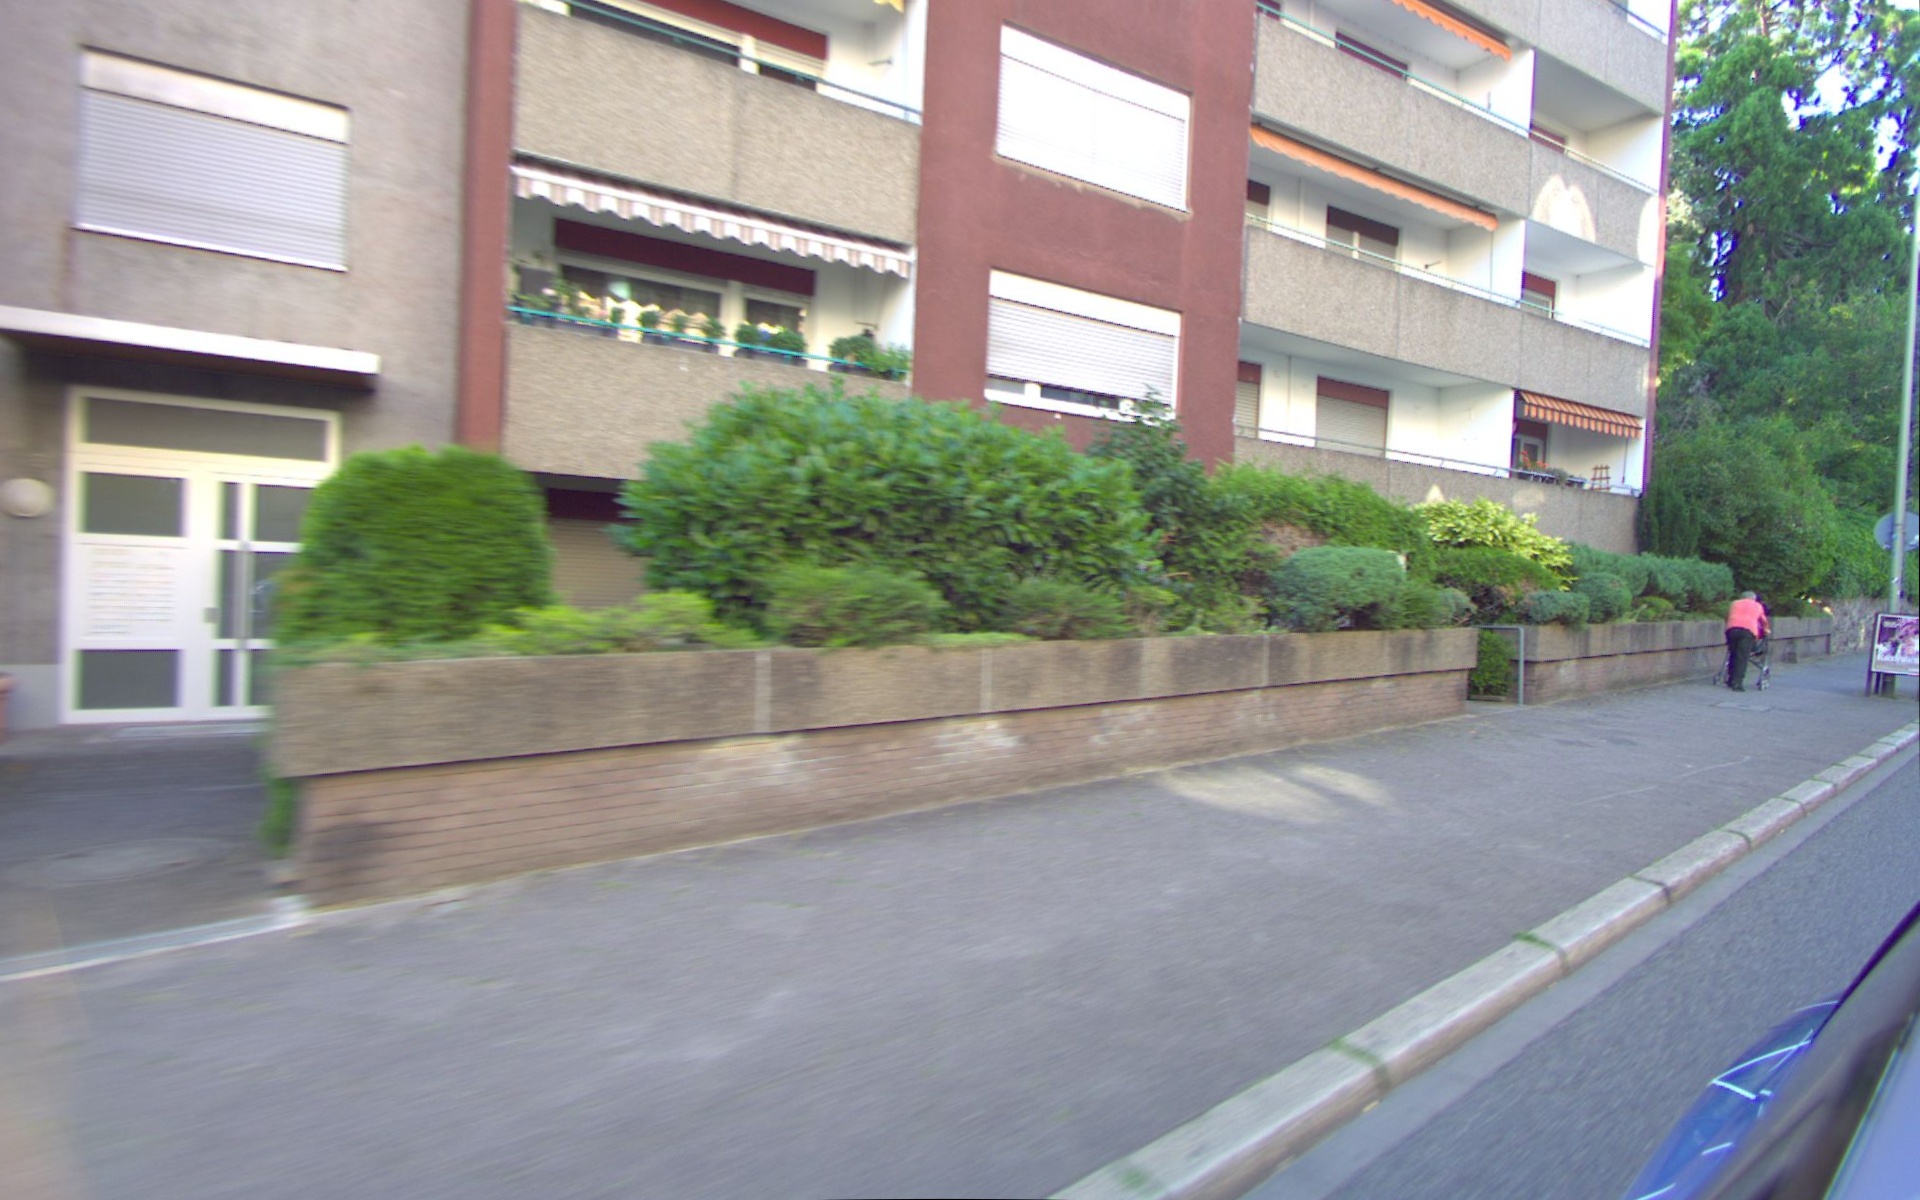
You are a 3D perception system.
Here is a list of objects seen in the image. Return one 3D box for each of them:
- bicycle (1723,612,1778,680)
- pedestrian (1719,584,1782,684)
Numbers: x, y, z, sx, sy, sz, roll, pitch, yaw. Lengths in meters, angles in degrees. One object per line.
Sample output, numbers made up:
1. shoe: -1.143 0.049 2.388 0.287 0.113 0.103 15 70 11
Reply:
1. bicycle: 12.011 0.691 15.385 0.483 0.982 0.567 2 0 -41
2. pedestrian: 11.560 0.487 14.803 0.656 1.421 0.598 2 0 -42
